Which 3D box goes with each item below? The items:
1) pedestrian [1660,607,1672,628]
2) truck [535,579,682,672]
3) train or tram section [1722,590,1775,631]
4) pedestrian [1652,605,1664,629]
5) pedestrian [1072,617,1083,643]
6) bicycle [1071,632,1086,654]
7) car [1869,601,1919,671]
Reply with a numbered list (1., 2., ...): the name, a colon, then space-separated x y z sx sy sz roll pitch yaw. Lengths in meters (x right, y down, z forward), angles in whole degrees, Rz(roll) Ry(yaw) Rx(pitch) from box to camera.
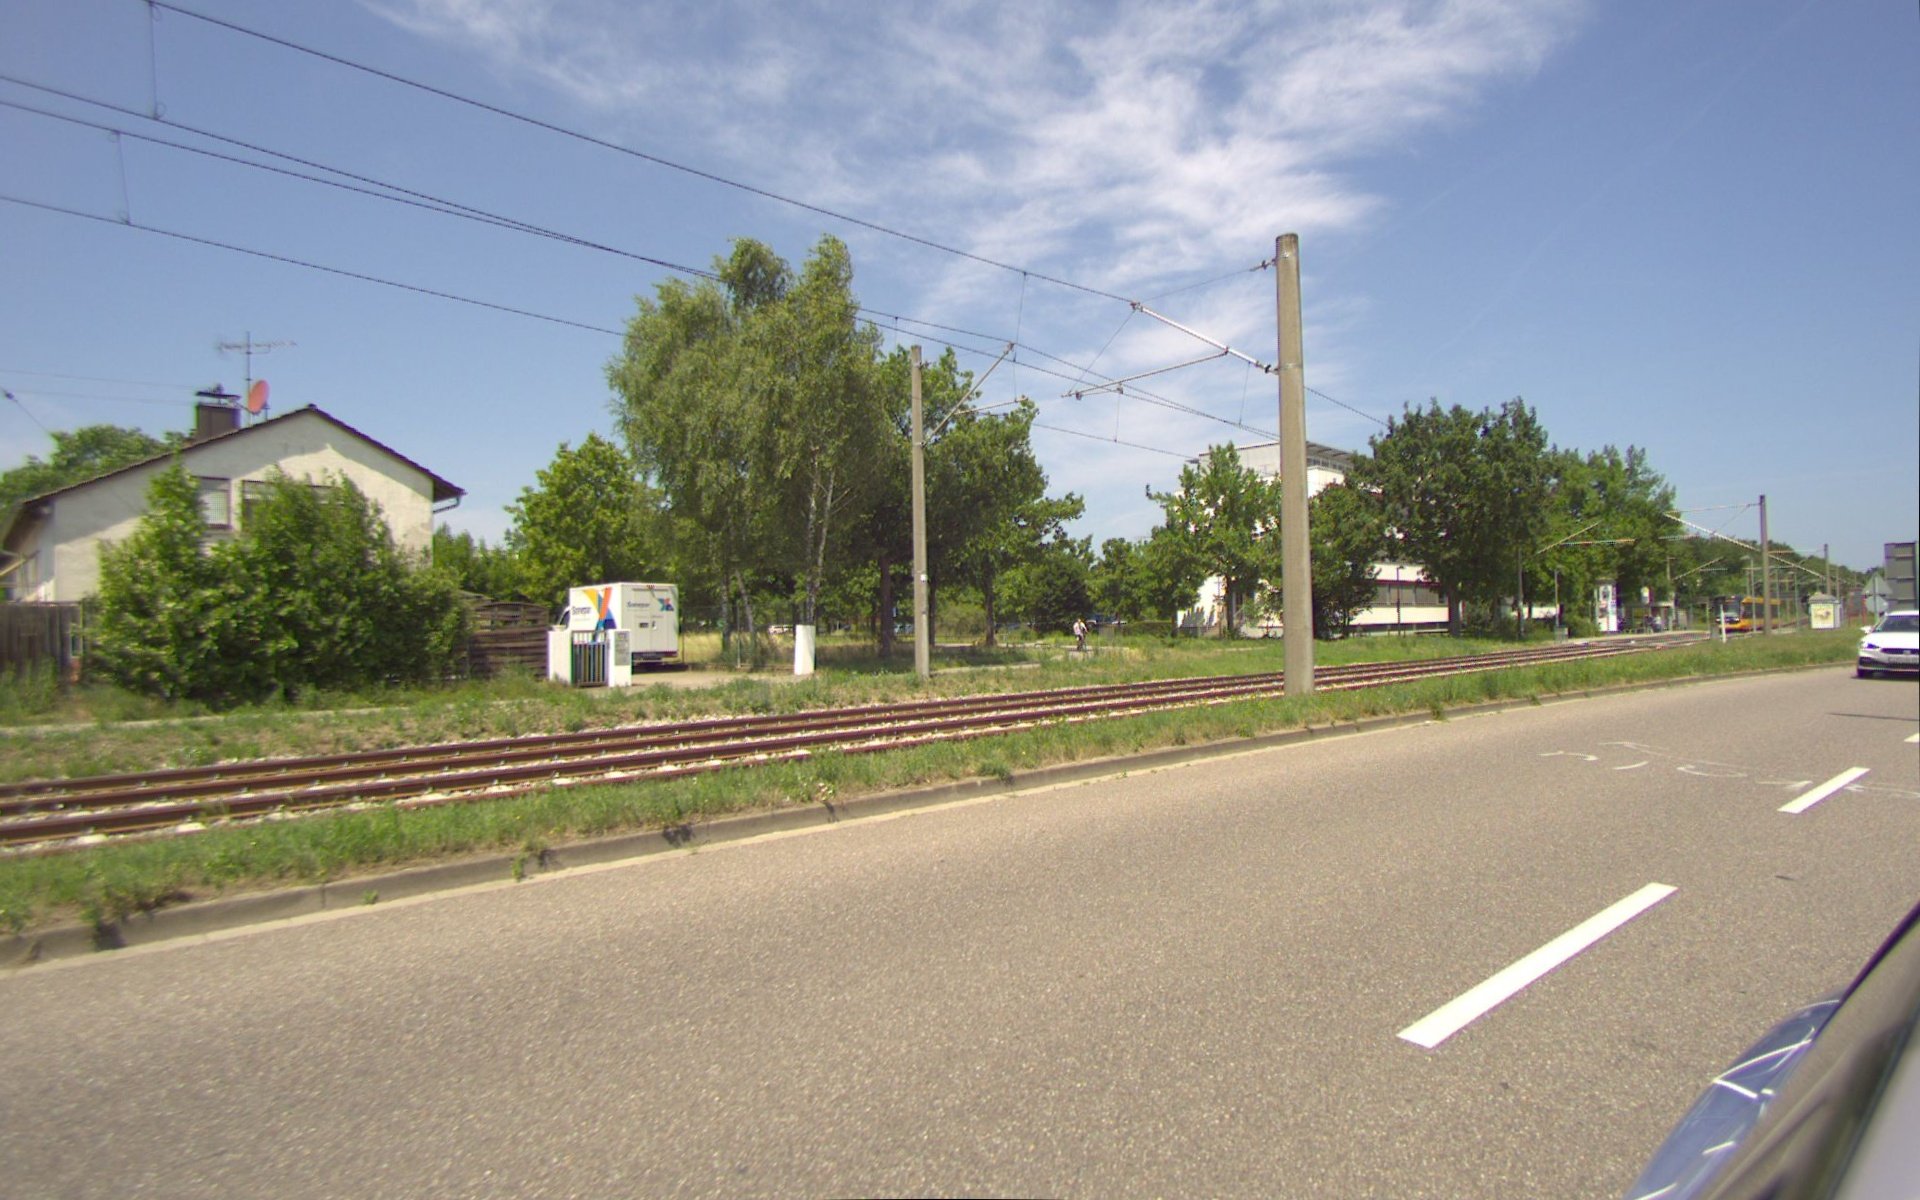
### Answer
1. pedestrian: 56.863 1.384 81.537 0.678 1.629 0.553 -1 -3 -39
2. truck: -11.925 0.791 34.093 5.839 2.879 2.284 -1 0 44
3. train or tram section: 75.872 0.890 97.238 2.814 3.626 12.305 3 2 43
4. pedestrian: 54.214 1.306 78.590 0.691 1.866 0.703 -4 -3 35
5. pedestrian: 6.359 1.611 54.652 0.449 1.421 0.585 -1 -1 -7
6. bicycle: 6.375 2.309 54.465 0.423 1.134 1.582 -1 -2 -5
7. car: 21.026 0.719 21.684 4.371 1.407 1.686 0 0 -39
